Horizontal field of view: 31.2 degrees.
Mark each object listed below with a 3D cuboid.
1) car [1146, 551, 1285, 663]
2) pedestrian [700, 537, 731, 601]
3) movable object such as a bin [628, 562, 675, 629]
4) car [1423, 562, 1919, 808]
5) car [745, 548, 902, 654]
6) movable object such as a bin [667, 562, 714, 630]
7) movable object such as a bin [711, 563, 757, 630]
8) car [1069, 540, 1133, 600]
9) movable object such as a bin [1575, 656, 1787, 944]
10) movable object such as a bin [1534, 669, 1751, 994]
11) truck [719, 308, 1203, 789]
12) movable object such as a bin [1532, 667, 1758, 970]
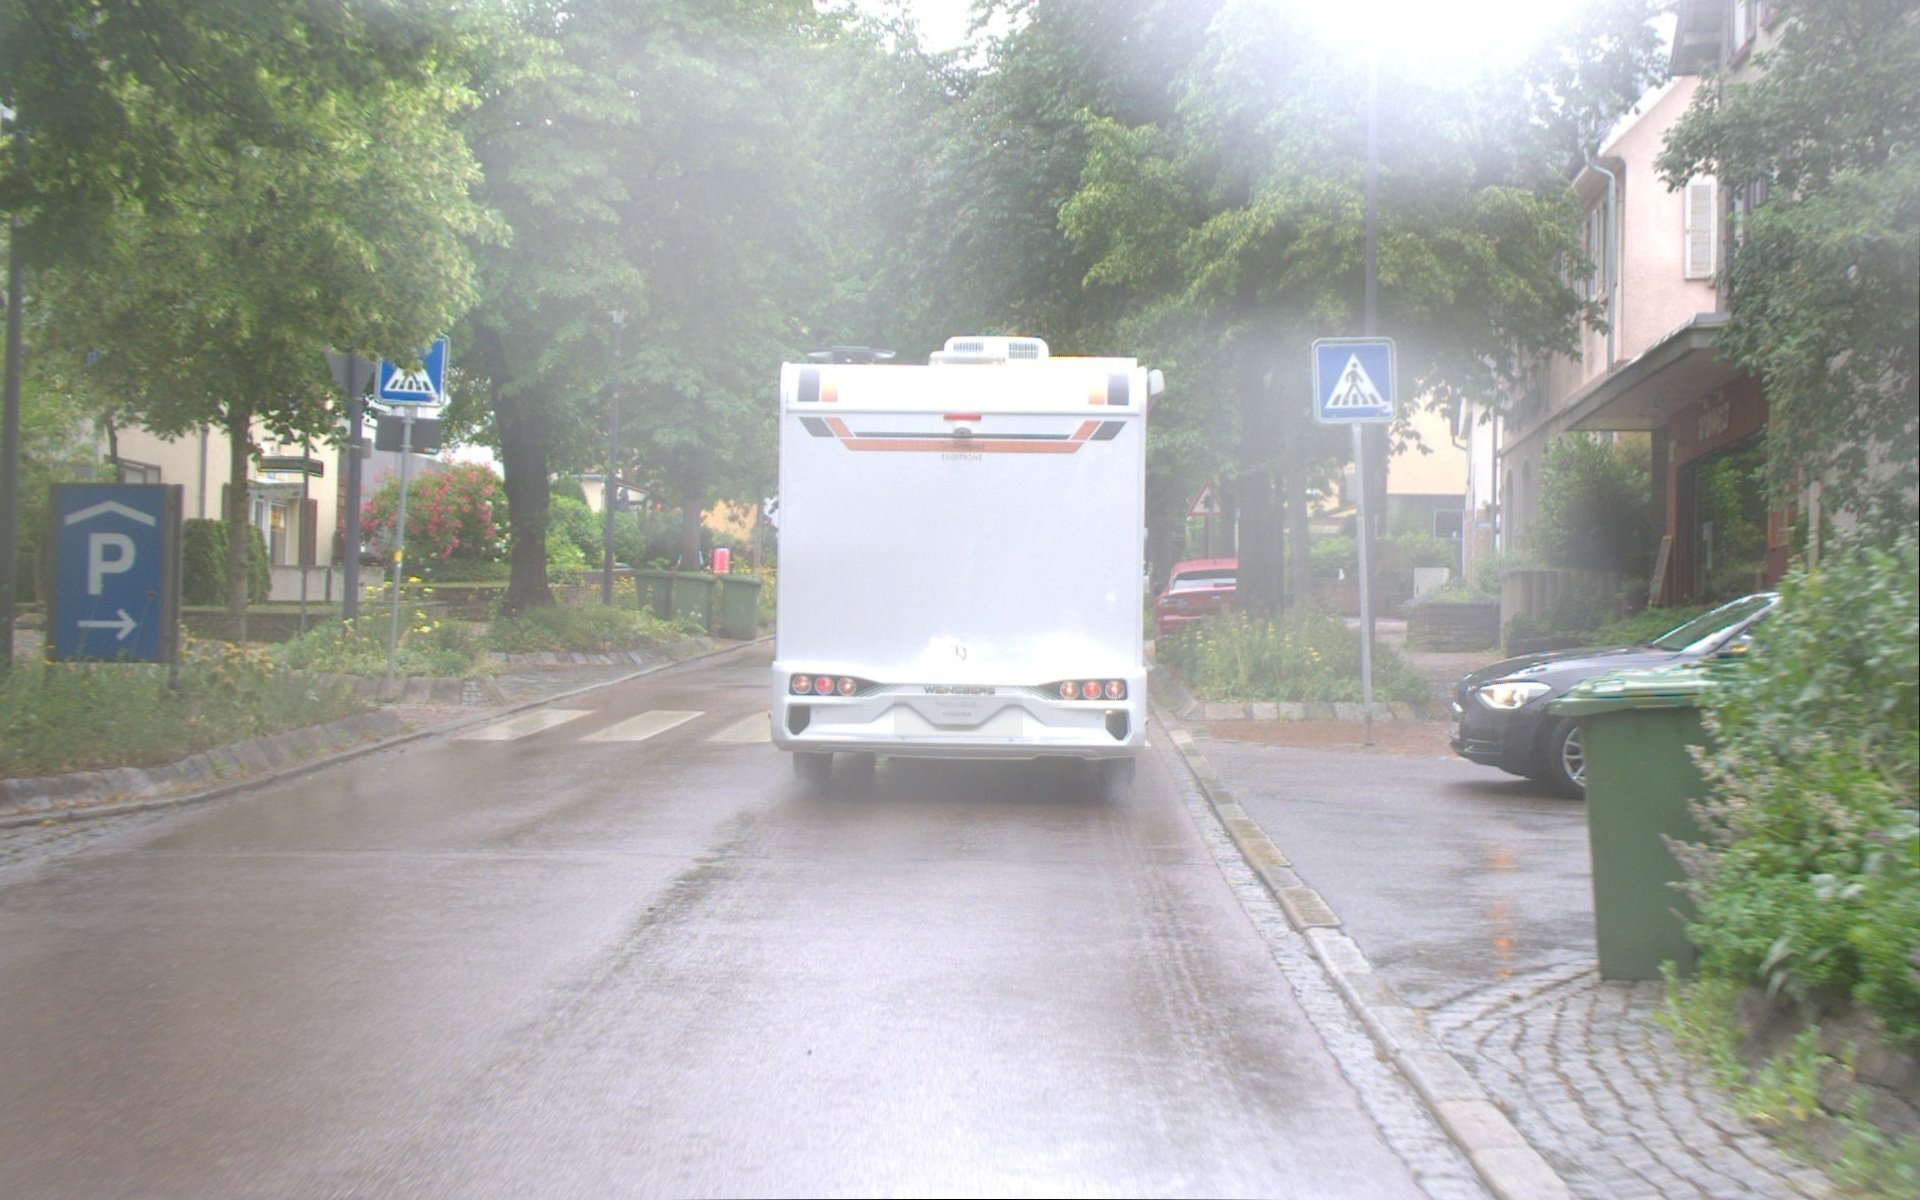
[{"bbox_3d":[3.703,0.066,49.845,1.855,1.467,4.364,3,1,4],"label":"car"},{"bbox_3d":[-7.160,-0.905,100.795,0.817,1.838,0.770,1,0,1],"label":"pedestrian"},{"bbox_3d":[-5.183,-0.075,57.779,0.670,1.101,0.817,1,0,1],"label":"movable object such as a bin"},{"bbox_3d":[5.340,0.558,22.666,4.283,1.412,1.840,2,1,1],"label":"car"},{"bbox_3d":[-1.944,-0.021,50.194,1.855,1.380,4.408,3,1,2],"label":"car"},{"bbox_3d":[-4.481,-0.062,57.159,0.670,1.101,0.817,1,0,1],"label":"movable object such as a bin"},{"bbox_3d":[-3.740,-0.056,56.980,0.670,1.091,0.817,1,0,1],"label":"movable object such as a bin"},{"bbox_3d":[3.686,-0.770,90.087,1.649,1.536,3.530,0,0,2],"label":"car"},{"bbox_3d":[2.892,0.784,13.775,0.704,1.107,0.570,0,0,27],"label":"movable object such as a bin"},{"bbox_3d":[2.466,0.818,12.391,0.704,1.120,0.571,0,0,17],"label":"movable object such as a bin"},{"bbox_3d":[0.062,-0.287,23.130,2.806,2.787,6.106,0,0,1],"label":"truck"},{"bbox_3d":[2.615,0.813,13.103,0.704,1.103,0.570,0,0,28],"label":"movable object such as a bin"}]
